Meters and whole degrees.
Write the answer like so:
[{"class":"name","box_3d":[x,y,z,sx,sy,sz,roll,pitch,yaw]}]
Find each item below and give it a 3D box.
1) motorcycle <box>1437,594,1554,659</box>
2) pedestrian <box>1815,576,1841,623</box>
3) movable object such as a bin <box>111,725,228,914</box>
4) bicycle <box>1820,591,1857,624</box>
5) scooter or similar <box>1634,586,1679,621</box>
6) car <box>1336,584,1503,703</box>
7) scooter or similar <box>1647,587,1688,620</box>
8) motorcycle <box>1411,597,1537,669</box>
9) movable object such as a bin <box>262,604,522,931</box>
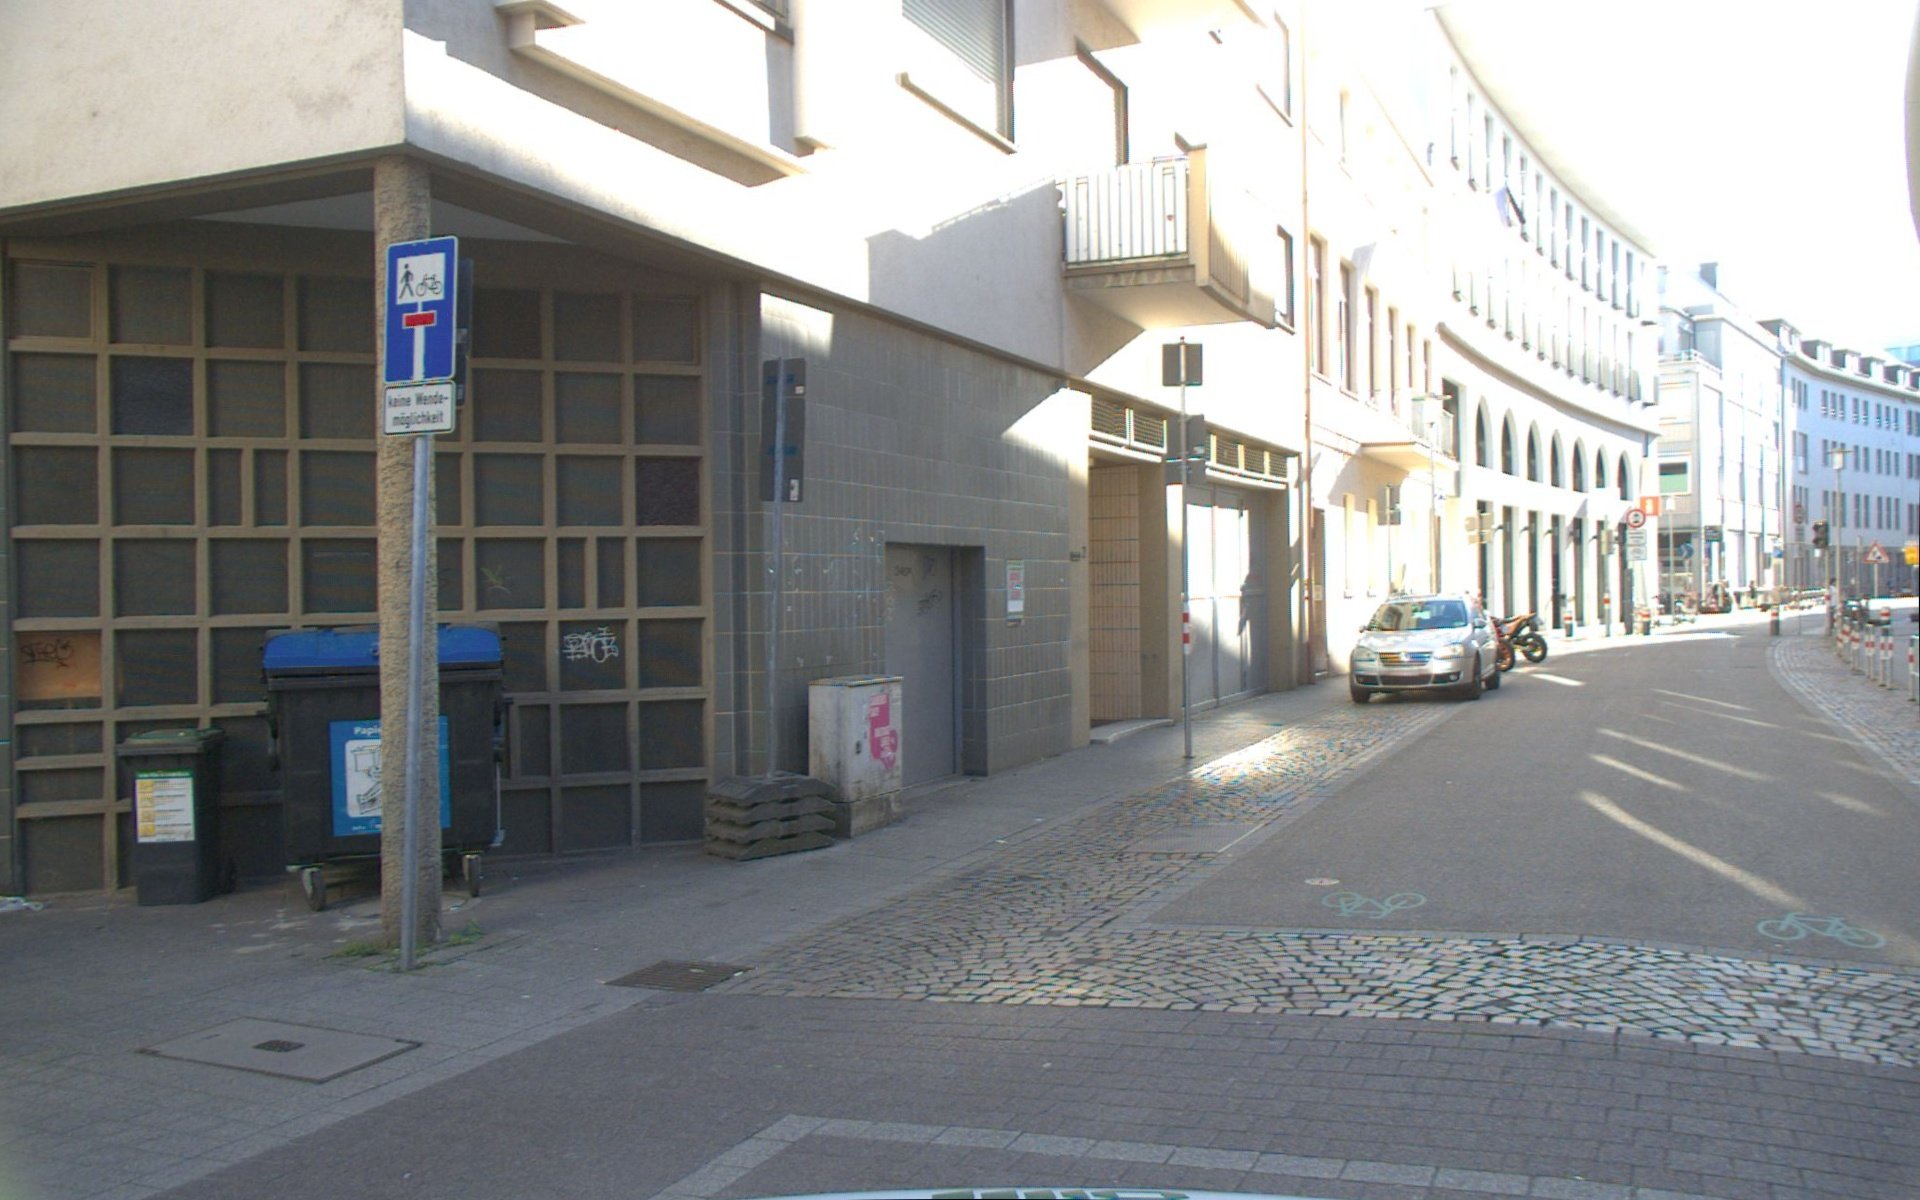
[{"class":"motorcycle","box_3d":[11.075,0.558,34.285,2.251,1.267,0.570,-3,-1,45]},{"class":"pedestrian","box_3d":[26.931,-0.018,51.316,0.644,1.466,0.595,-1,0,26]},{"class":"movable object such as a bin","box_3d":[-4.349,1.191,9.127,0.532,0.940,0.509,-2,0,-24]},{"class":"bicycle","box_3d":[29.973,0.247,56.396,0.911,1.066,3.359,-1,0,31]},{"class":"scooter or similar","box_3d":[25.454,0.141,60.485,0.521,1.218,1.953,-2,-1,-8]},{"class":"car","box_3d":[6.701,0.576,23.882,1.730,1.496,3.812,-3,0,24]},{"class":"scooter or similar","box_3d":[27.664,0.160,64.708,0.521,1.218,1.953,-2,-1,-8]},{"class":"motorcycle","box_3d":[9.506,0.625,30.658,2.175,1.267,0.570,-3,-1,45]},{"class":"movable object such as a bin","box_3d":[-3.167,0.859,9.219,1.269,1.617,1.148,-1,1,-22]}]
